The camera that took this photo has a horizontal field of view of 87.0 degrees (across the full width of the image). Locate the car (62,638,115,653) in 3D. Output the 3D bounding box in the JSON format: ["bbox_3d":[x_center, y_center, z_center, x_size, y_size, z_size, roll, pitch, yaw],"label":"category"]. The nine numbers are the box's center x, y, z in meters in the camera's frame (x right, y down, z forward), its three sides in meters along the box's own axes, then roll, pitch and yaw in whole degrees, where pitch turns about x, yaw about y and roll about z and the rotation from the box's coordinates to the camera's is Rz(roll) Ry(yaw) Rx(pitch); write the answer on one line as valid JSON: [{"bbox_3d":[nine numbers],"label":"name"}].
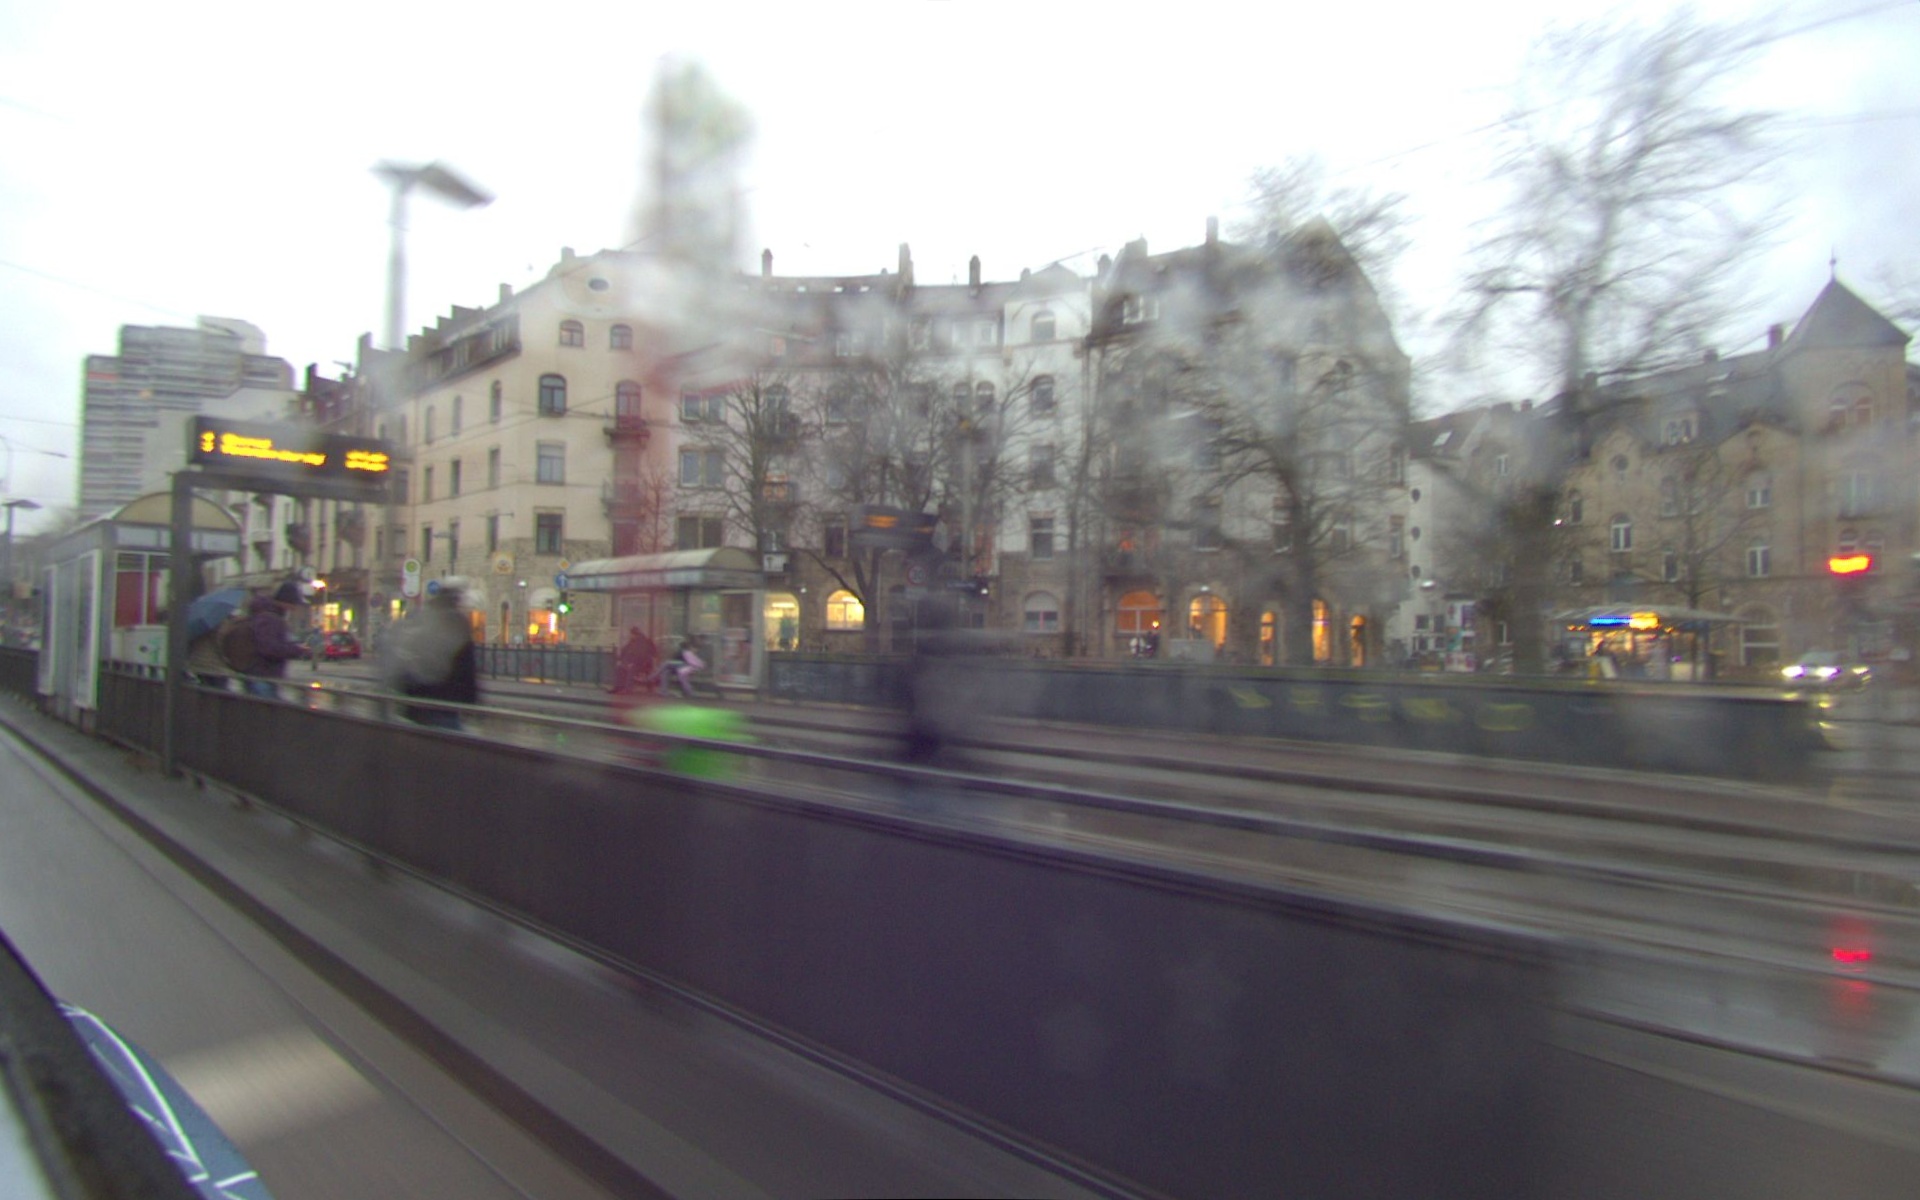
[{"bbox_3d":[-86.669,4.571,100.651,1.727,1.424,3.788,-2,-4,43],"label":"car"}]

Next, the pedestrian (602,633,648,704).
[{"bbox_3d":[-6.954,1.403,21.010,0.578,1.414,0.676,-2,-1,42],"label":"pedestrian"}]

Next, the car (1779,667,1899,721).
[{"bbox_3d":[31.302,3.315,36.055,3.795,1.785,1.886,3,-4,-27],"label":"car"}]

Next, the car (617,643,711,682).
[{"bbox_3d":[-12.912,2.707,44.343,3.764,1.483,1.617,-1,0,-10],"label":"car"}]

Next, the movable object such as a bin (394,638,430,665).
[{"bbox_3d":[-29.756,2.774,54.918,1.280,1.382,1.335,-2,-1,41],"label":"movable object such as a bin"}]

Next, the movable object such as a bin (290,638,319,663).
[{"bbox_3d":[-39.977,3.047,61.689,1.073,1.442,1.223,-2,-1,41],"label":"movable object such as a bin"}]

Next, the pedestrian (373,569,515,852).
[{"bbox_3d":[-3.362,0.676,6.596,0.571,1.721,0.650,-2,-1,43],"label":"pedestrian"}]

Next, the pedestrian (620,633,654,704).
[{"bbox_3d":[-6.601,1.394,20.673,0.453,1.414,0.468,-2,-1,42],"label":"pedestrian"}]

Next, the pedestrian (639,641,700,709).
[{"bbox_3d":[-5.733,1.456,19.994,0.506,1.264,1.044,-2,-1,42],"label":"pedestrian"}]

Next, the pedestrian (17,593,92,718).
[{"bbox_3d":[-14.723,0.879,16.460,0.571,1.970,0.844,-2,-1,43],"label":"pedestrian"}]

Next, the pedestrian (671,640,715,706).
[{"bbox_3d":[-5.185,1.412,19.659,0.517,1.227,0.645,-2,-1,42],"label":"pedestrian"}]

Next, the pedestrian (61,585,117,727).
[{"bbox_3d":[-12.684,0.798,14.737,0.571,2.002,0.551,-2,-1,43],"label":"pedestrian"}]

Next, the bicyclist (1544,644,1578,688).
[{"bbox_3d":[19.553,2.137,32.925,0.753,1.374,0.532,0,-1,-12],"label":"bicyclist"}]

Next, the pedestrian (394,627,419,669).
[{"bbox_3d":[-26.214,2.265,47.947,0.785,1.892,0.897,-1,-1,-12],"label":"pedestrian"}]

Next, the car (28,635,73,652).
[{"bbox_3d":[-106.217,5.077,118.233,1.727,1.730,3.789,-2,-1,43],"label":"car"}]

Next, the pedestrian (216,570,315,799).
[{"bbox_3d":[-5.800,0.677,8.448,0.571,1.821,0.551,-2,-1,43],"label":"pedestrian"}]

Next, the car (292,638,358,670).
[{"bbox_3d":[-32.630,2.763,51.998,3.672,1.528,1.657,-2,-1,36],"label":"car"}]

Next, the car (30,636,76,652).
[{"bbox_3d":[-103.425,5.010,115.425,1.727,1.730,3.789,-2,-1,43],"label":"car"}]

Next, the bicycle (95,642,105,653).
[{"bbox_3d":[-80.030,4.391,94.180,1.881,1.014,0.463,-2,-1,44],"label":"bicycle"}]

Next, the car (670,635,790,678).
[{"bbox_3d":[-8.916,2.165,39.204,4.268,1.595,1.943,1,-3,-22],"label":"car"}]

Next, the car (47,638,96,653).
[{"bbox_3d":[-96.227,4.910,109.631,1.727,1.424,3.789,-2,-1,43],"label":"car"}]

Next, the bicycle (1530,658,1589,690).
[{"bbox_3d":[19.512,2.399,32.928,1.781,1.015,0.493,1,-3,-13],"label":"bicycle"}]

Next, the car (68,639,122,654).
[{"bbox_3d":[-84.578,4.526,98.977,1.727,1.424,3.788,-2,-3,43],"label":"car"}]

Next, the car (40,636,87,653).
[{"bbox_3d":[-100.931,4.978,113.977,1.727,1.730,3.788,-2,-1,43],"label":"car"}]

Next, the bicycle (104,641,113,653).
[{"bbox_3d":[-76.394,4.211,90.835,1.881,1.014,0.429,-2,-1,44],"label":"bicycle"}]

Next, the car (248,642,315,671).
[{"bbox_3d":[-37.065,3.046,55.240,4.504,1.400,1.784,-2,-1,39],"label":"car"}]

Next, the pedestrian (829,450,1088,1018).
[{"bbox_3d":[-0.019,0.456,3.936,0.677,1.932,0.719,-1,-1,-36],"label":"pedestrian"}]

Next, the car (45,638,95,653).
[{"bbox_3d":[-93.321,4.784,106.154,1.727,1.424,3.788,-2,-2,43],"label":"car"}]
